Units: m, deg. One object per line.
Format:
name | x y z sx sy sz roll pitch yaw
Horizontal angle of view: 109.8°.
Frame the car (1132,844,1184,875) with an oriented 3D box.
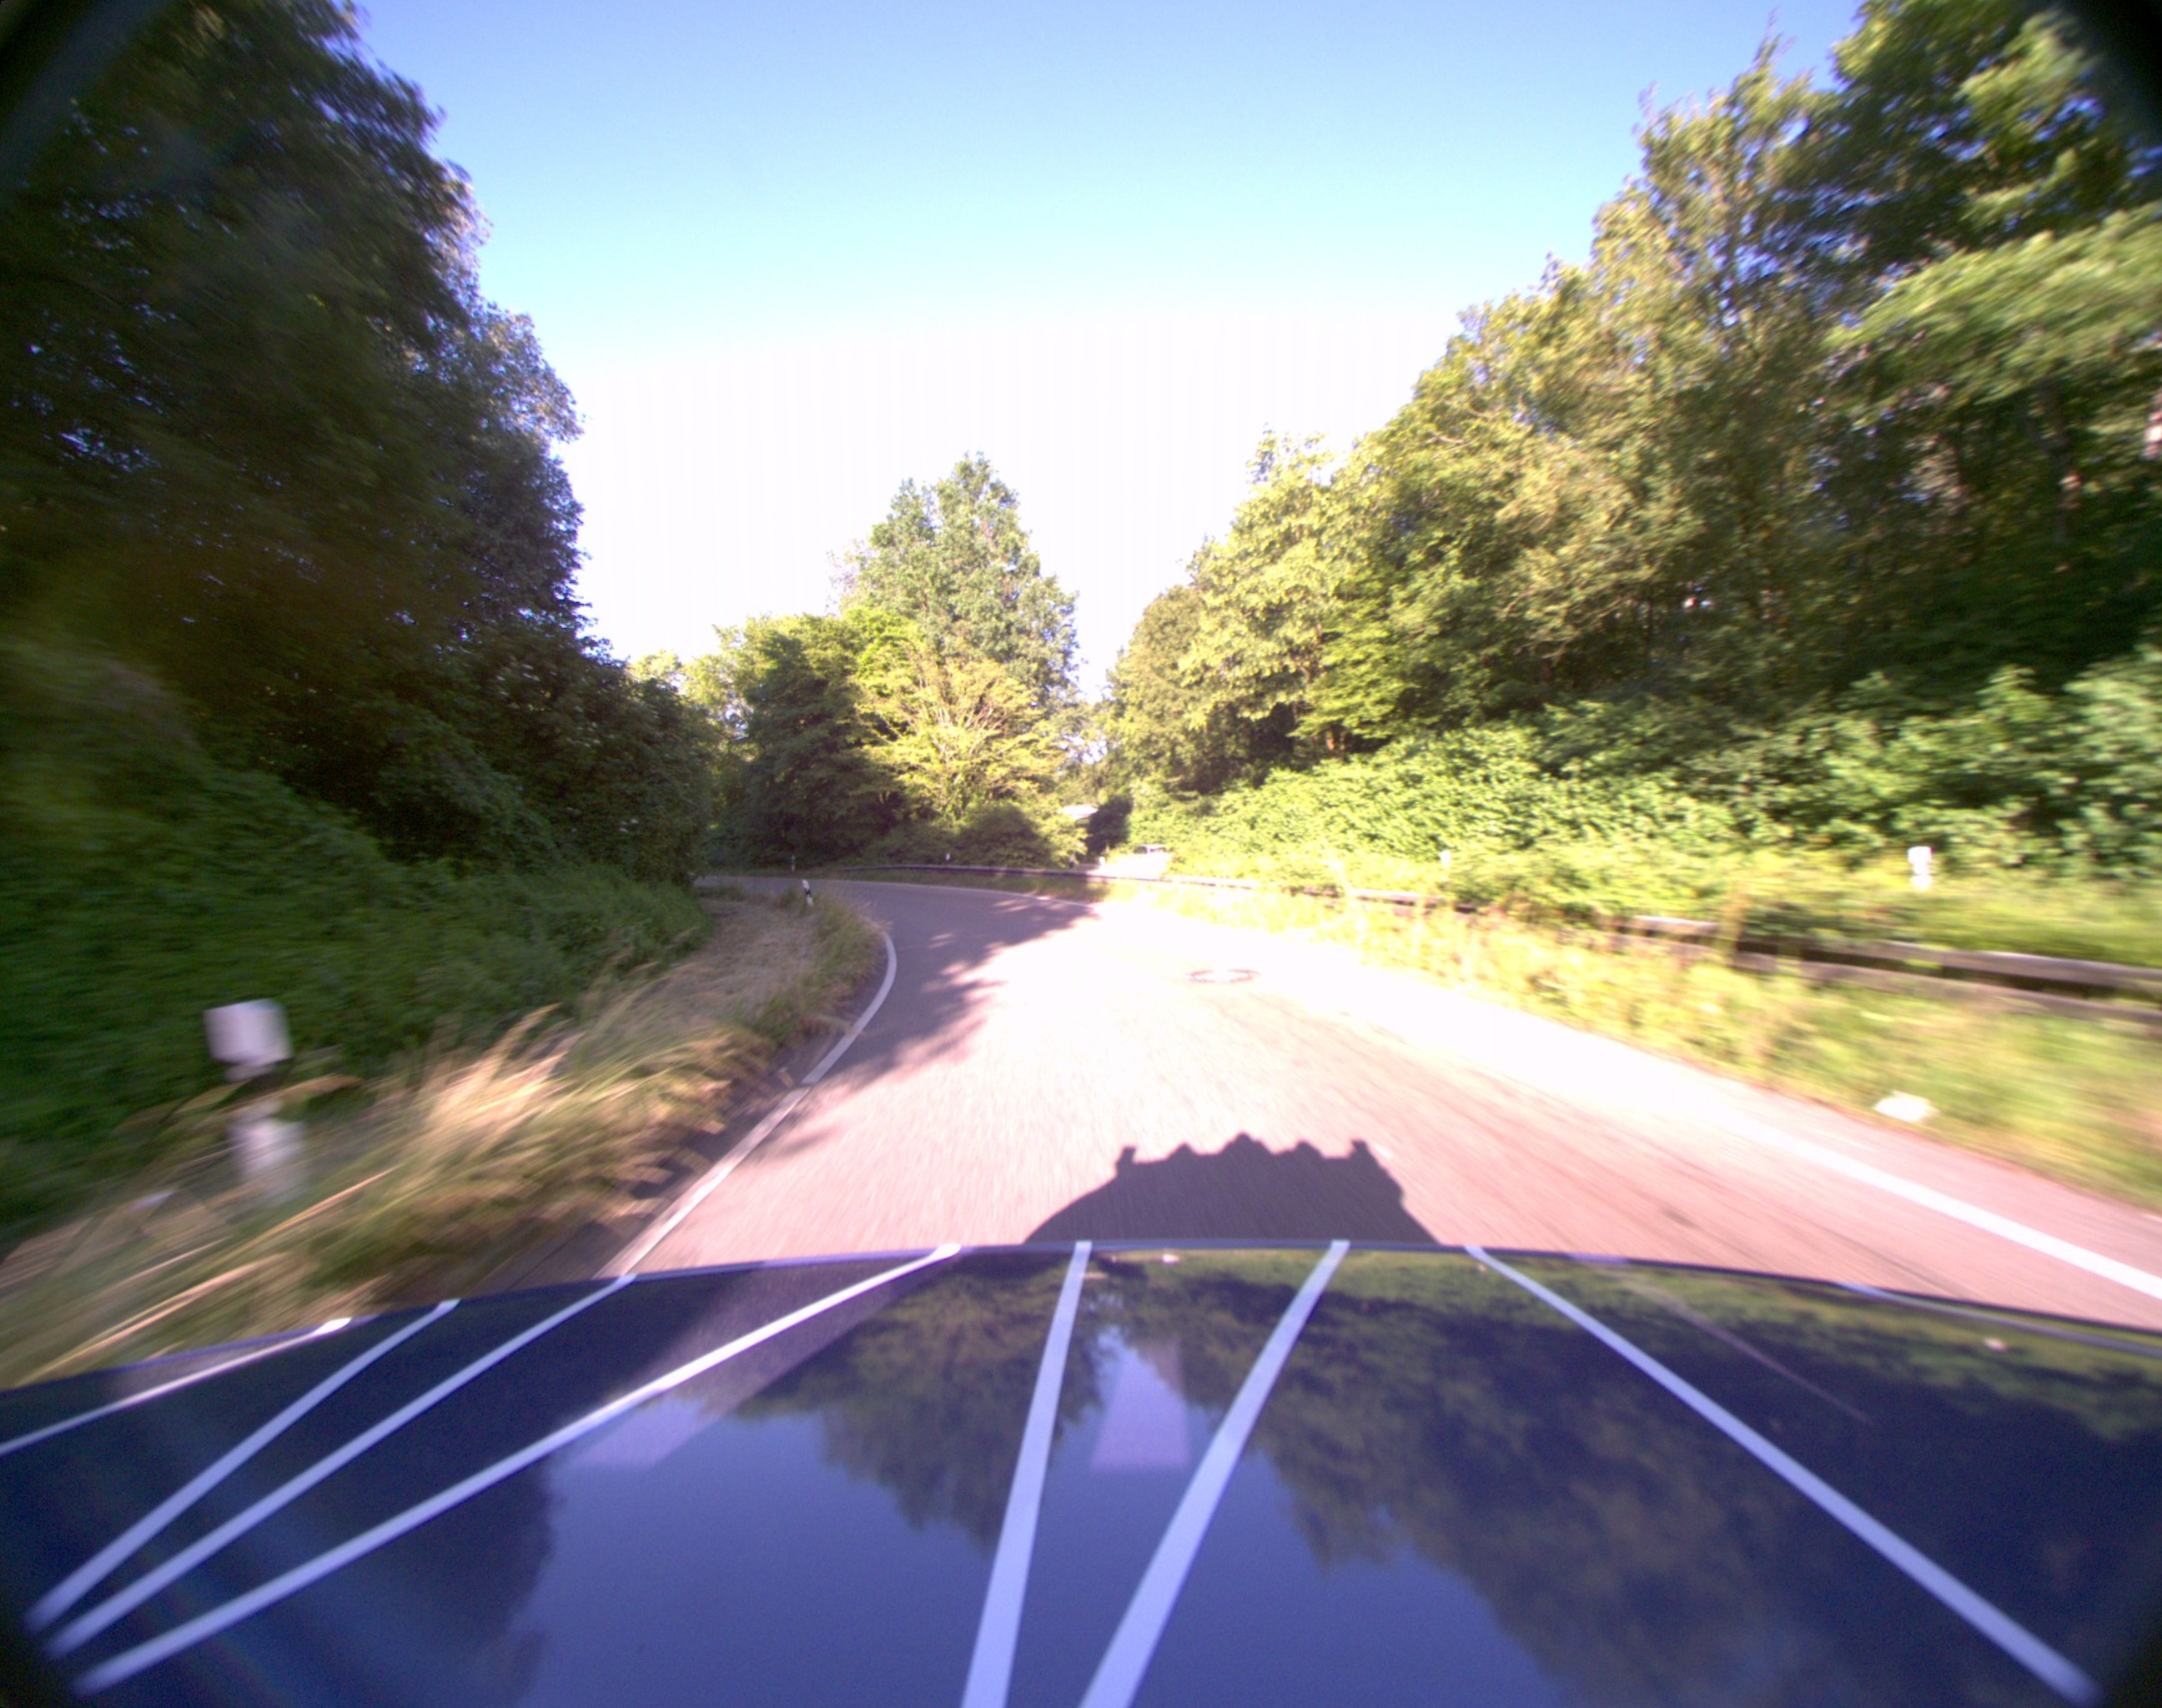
car | 3.963 0.236 39.730 1.727 1.479 3.996 -2 1 -8
